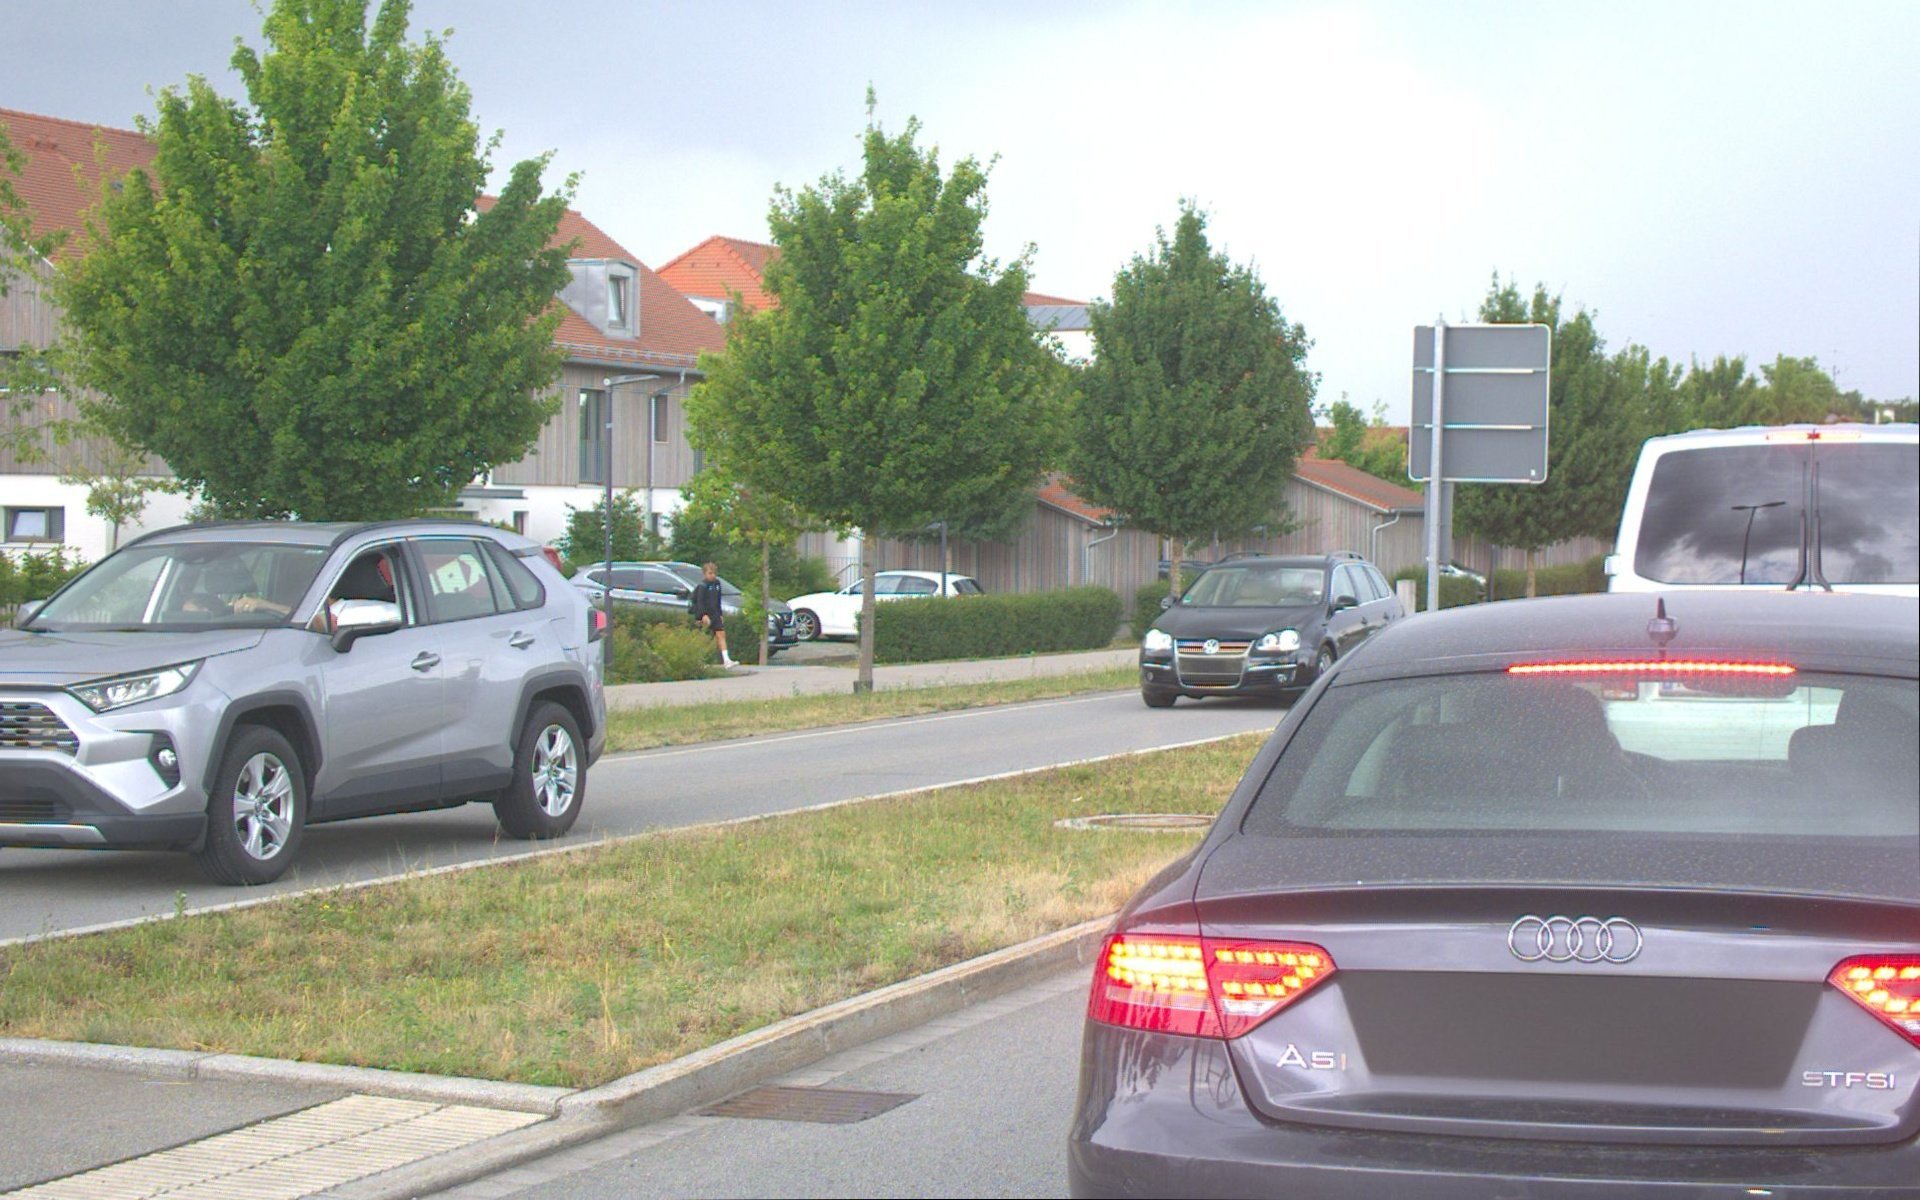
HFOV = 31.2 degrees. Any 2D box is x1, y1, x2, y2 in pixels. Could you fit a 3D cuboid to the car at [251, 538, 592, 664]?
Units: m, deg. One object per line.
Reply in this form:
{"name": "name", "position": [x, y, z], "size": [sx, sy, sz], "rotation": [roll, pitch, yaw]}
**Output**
{"name": "car", "position": [-7.853, -0.017, 50.112], "size": [4.536, 1.674, 1.997], "rotation": [2, 1, 25]}

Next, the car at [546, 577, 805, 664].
{"name": "car", "position": [-4.786, 0.330, 57.901], "size": [3.918, 1.310, 1.841], "rotation": [2, 1, 19]}

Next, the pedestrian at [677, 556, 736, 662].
{"name": "pedestrian", "position": [-3.773, 0.133, 51.235], "size": [0.658, 1.553, 0.582], "rotation": [2, 1, 23]}

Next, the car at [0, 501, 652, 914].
{"name": "car", "position": [-3.473, 0.419, 16.665], "size": [1.996, 1.698, 4.629], "rotation": [-1, 1, 23]}

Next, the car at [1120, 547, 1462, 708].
{"name": "car", "position": [3.289, 0.213, 33.333], "size": [1.756, 1.411, 4.449], "rotation": [2, 1, 27]}

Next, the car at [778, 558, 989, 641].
{"name": "car", "position": [-1.473, -0.021, 66.839], "size": [3.733, 1.477, 1.685], "rotation": [2, 1, 18]}

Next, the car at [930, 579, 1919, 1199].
{"name": "car", "position": [1.464, 0.679, 6.658], "size": [1.785, 1.387, 4.129], "rotation": [0, 1, 19]}

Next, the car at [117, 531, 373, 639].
{"name": "car", "position": [-12.335, -0.273, 59.576], "size": [1.996, 1.766, 4.459], "rotation": [2, 1, 26]}

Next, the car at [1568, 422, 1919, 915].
{"name": "car", "position": [4.005, 0.235, 15.574], "size": [1.869, 1.927, 3.996], "rotation": [1, 1, 18]}
